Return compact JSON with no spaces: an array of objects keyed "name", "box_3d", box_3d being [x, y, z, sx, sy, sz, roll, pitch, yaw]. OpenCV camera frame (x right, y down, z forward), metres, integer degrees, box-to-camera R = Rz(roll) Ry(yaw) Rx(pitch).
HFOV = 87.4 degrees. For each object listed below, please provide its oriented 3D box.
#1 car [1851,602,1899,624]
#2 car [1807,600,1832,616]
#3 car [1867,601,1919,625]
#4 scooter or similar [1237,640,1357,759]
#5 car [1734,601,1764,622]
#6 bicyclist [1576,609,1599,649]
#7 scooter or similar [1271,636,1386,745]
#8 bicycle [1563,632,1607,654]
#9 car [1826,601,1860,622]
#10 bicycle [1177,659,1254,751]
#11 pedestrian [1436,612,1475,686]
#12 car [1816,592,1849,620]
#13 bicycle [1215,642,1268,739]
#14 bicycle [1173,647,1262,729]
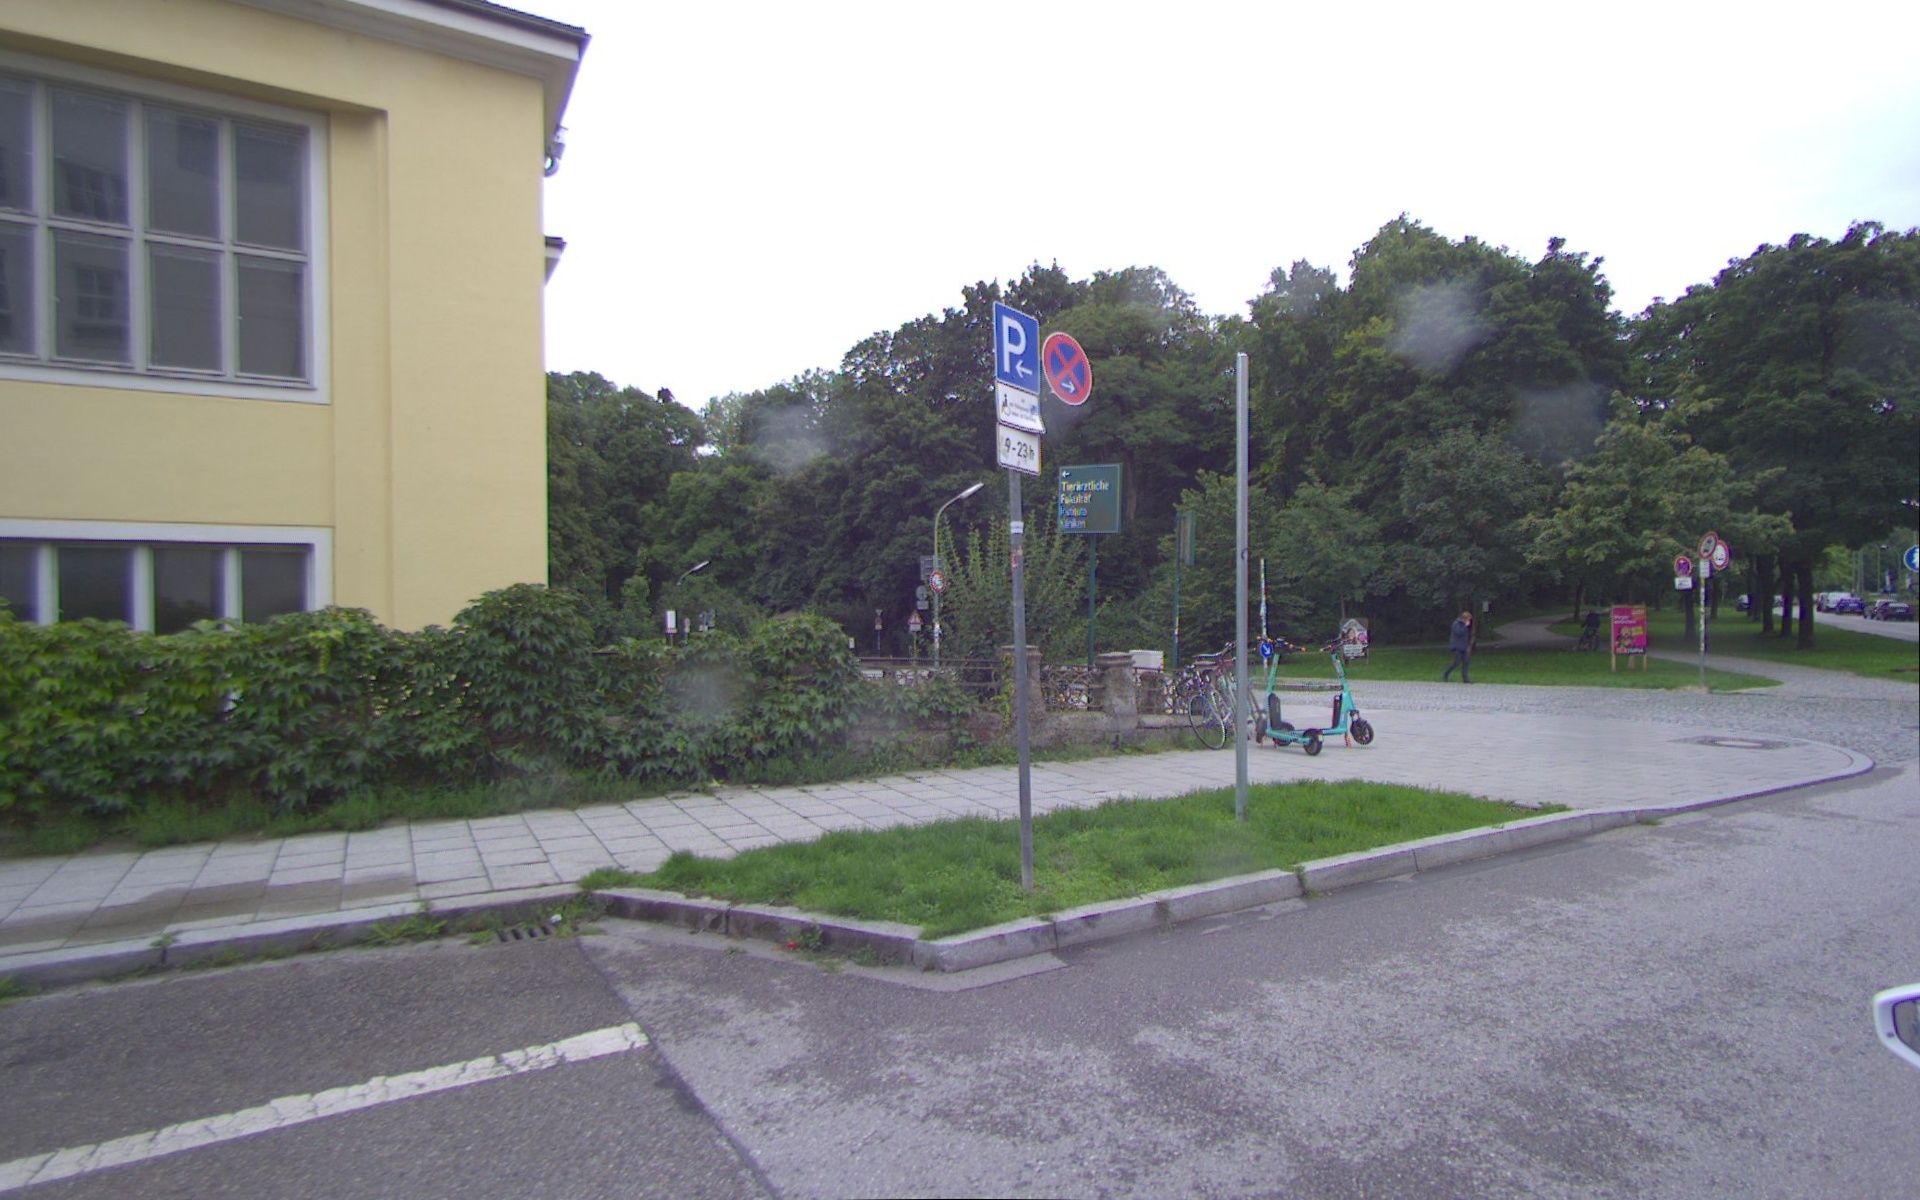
[{"name":"car","box_3d":[70.497,0.985,77.451,2.147,1.679,4.491,-1,-1,35]},{"name":"car","box_3d":[90.910,0.808,106.260,1.623,1.674,4.269,0,0,36]},{"name":"car","box_3d":[67.120,0.917,72.266,2.147,1.679,4.491,-1,-1,35]},{"name":"scooter or similar","box_3d":[3.718,1.075,11.155,0.594,1.235,1.174,0,-3,-26]},{"name":"car","box_3d":[73.653,1.083,93.779,1.967,1.862,3.986,-1,-1,36]},{"name":"bicyclist","box_3d":[23.289,1.072,37.267,0.618,1.480,0.645,0,0,22]},{"name":"scooter or similar","box_3d":[4.287,1.052,11.730,1.158,1.235,0.447,-1,-2,8]},{"name":"bicycle","box_3d":[23.190,1.597,37.289,1.335,0.786,0.440,0,0,23]},{"name":"car","box_3d":[78.569,1.050,89.427,1.851,1.840,3.987,-1,-1,35]},{"name":"bicycle","box_3d":[2.953,1.183,11.571,0.464,0.935,1.200,0,0,35]},{"name":"pedestrian","box_3d":[12.237,1.191,24.820,0.720,1.776,0.656,-1,0,40]},{"name":"car","box_3d":[84.218,0.589,97.002,1.851,2.602,4.915,-1,-1,35]},{"name":"bicycle","box_3d":[3.705,1.152,13.255,0.641,1.149,1.502,0,0,15]},{"name":"bicycle","box_3d":[3.804,1.295,14.993,0.642,1.148,1.736,0,-4,-8]}]
